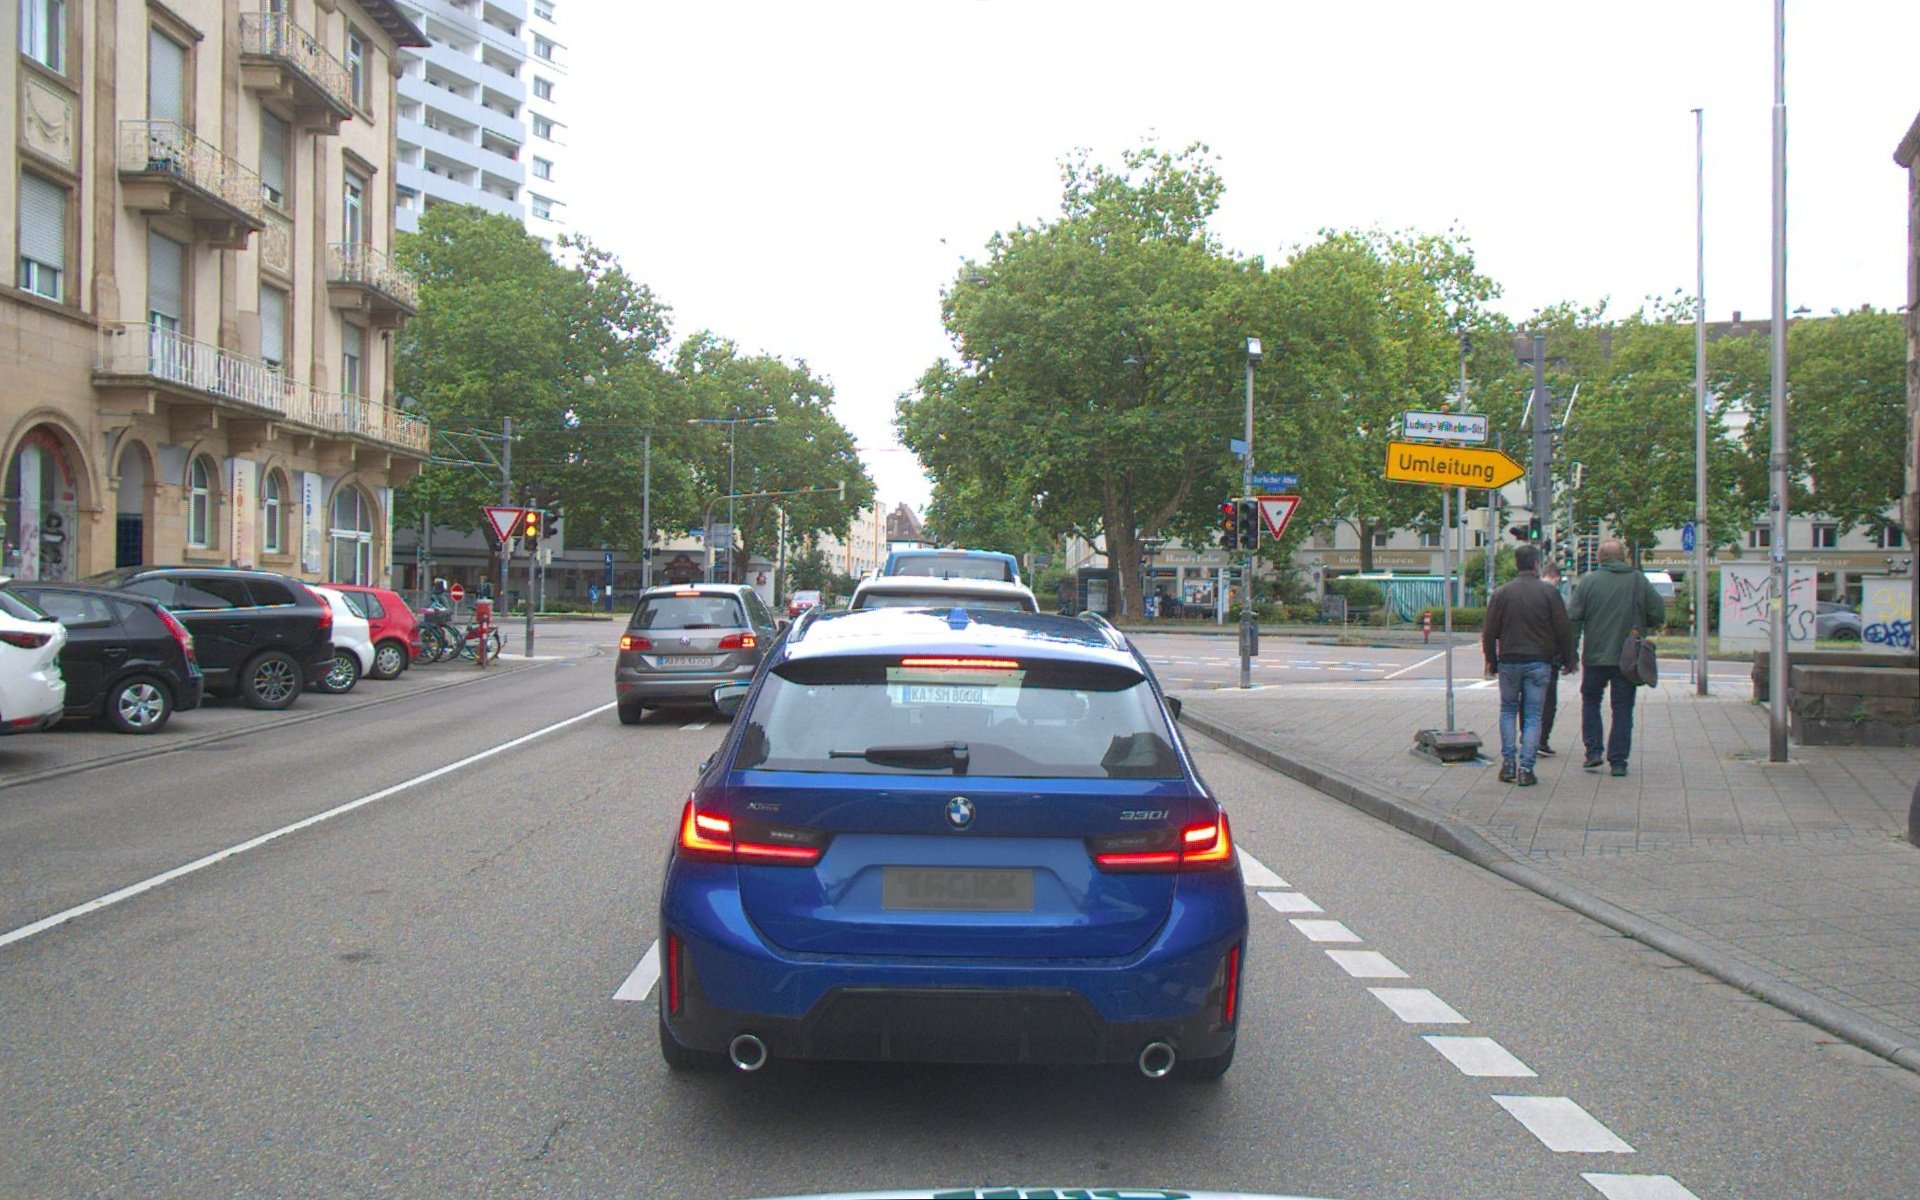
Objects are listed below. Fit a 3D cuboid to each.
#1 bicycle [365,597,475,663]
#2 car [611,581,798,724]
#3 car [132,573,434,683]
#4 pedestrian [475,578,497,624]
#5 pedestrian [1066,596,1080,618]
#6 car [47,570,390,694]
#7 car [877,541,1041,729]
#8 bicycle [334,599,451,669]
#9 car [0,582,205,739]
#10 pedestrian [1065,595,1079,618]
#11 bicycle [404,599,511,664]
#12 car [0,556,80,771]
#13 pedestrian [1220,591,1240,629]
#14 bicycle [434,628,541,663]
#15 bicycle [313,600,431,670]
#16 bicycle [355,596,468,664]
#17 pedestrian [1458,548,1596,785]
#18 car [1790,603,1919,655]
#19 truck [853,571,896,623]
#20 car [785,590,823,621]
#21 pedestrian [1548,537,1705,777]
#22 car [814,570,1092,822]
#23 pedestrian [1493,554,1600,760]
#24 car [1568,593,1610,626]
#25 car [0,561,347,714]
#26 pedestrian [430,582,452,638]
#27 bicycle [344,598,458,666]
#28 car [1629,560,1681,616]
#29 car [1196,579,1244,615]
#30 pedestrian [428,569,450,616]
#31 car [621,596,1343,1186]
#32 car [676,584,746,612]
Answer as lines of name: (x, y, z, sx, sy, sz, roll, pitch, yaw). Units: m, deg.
bicycle: (-10.318, 0.573, 31.638, 1.849, 1.053, 0.442, 6, 0, -3)
car: (-2.991, 0.564, 20.097, 1.697, 1.551, 3.999, 0, 0, -1)
car: (-10.356, 0.433, 25.512, 1.653, 1.498, 3.978, 3, 1, 40)
pedestrian: (-18.649, 0.034, 65.118, 0.661, 1.802, 0.726, 0, 0, -1)
pedestrian: (7.038, 0.448, 103.141, 0.835, 1.337, 0.762, 0, 0, -1)
car: (-10.084, 0.465, 22.677, 3.968, 1.498, 1.540, 3, 0, -44)
car: (-0.041, 0.371, 20.018, 1.778, 2.040, 3.999, 0, 0, -1)
bicycle: (-10.222, 0.604, 29.806, 1.849, 1.053, 0.442, 6, 0, -3)
car: (-9.975, 0.579, 16.750, 3.959, 1.521, 1.708, 1, 0, -39)
pedestrian: (7.032, 0.411, 104.035, 0.801, 1.396, 0.762, 0, 0, -1)
bicycle: (-9.775, 0.613, 32.194, 1.849, 1.053, 0.442, 6, 0, -3)
car: (-9.593, 0.482, 13.696, 3.937, 1.754, 1.826, 1, 0, -26)
pedestrian: (12.655, 0.451, 77.527, 0.768, 1.774, 0.925, 0, 0, -2)
bicycle: (-9.472, 0.913, 33.239, 1.849, 0.453, 1.028, 6, 2, -3)
bicycle: (-10.298, 0.606, 28.989, 1.848, 1.053, 0.442, 5, 0, 2)
bicycle: (-10.272, 0.559, 31.003, 1.849, 1.053, 0.442, 6, 0, -3)
pedestrian: (4.303, 0.483, 12.603, 0.660, 1.715, 0.969, -2, 0, -1)
car: (28.815, 0.918, 52.904, 3.895, 1.589, 1.687, 0, 0, 22)
truck: (-4.156, -0.185, 80.805, 2.033, 2.450, 5.460, 0, 1, -3)
car: (-7.829, 0.259, 83.108, 1.615, 1.472, 3.510, 0, 0, -1)
pedestrian: (5.210, 0.424, 12.983, 0.788, 1.789, 0.969, -2, 0, -1)
car: (-0.072, 0.604, 12.662, 1.778, 1.620, 3.999, 0, 0, -1)
pedestrian: (5.041, 0.469, 14.264, 0.619, 1.702, 0.970, -2, 0, 6)
car: (31.043, 0.456, 81.549, 1.632, 1.542, 3.935, 1, 0, 25)
car: (-9.825, 0.427, 20.022, 4.192, 1.680, 1.704, 1, 0, -44)
pedestrian: (-19.327, 0.373, 61.621, 0.613, 2.049, 0.617, 1, -1, -1)
bicycle: (-10.244, 0.583, 30.342, 1.849, 1.053, 0.442, 6, 0, -3)
car: (34.935, -0.594, 83.008, 2.191, 2.685, 5.443, 1, 0, 25)
car: (16.959, -0.190, 107.655, 2.130, 2.239, 3.999, 0, 0, 23)
pedestrian: (-20.315, -0.301, 64.507, 0.661, 1.802, 0.726, 0, 0, -1)
car: (0.029, 0.715, 6.249, 1.778, 1.430, 4.319, 0, 0, -1)
car: (-15.832, -0.116, 105.220, 3.953, 1.736, 1.976, 1, 0, -35)
